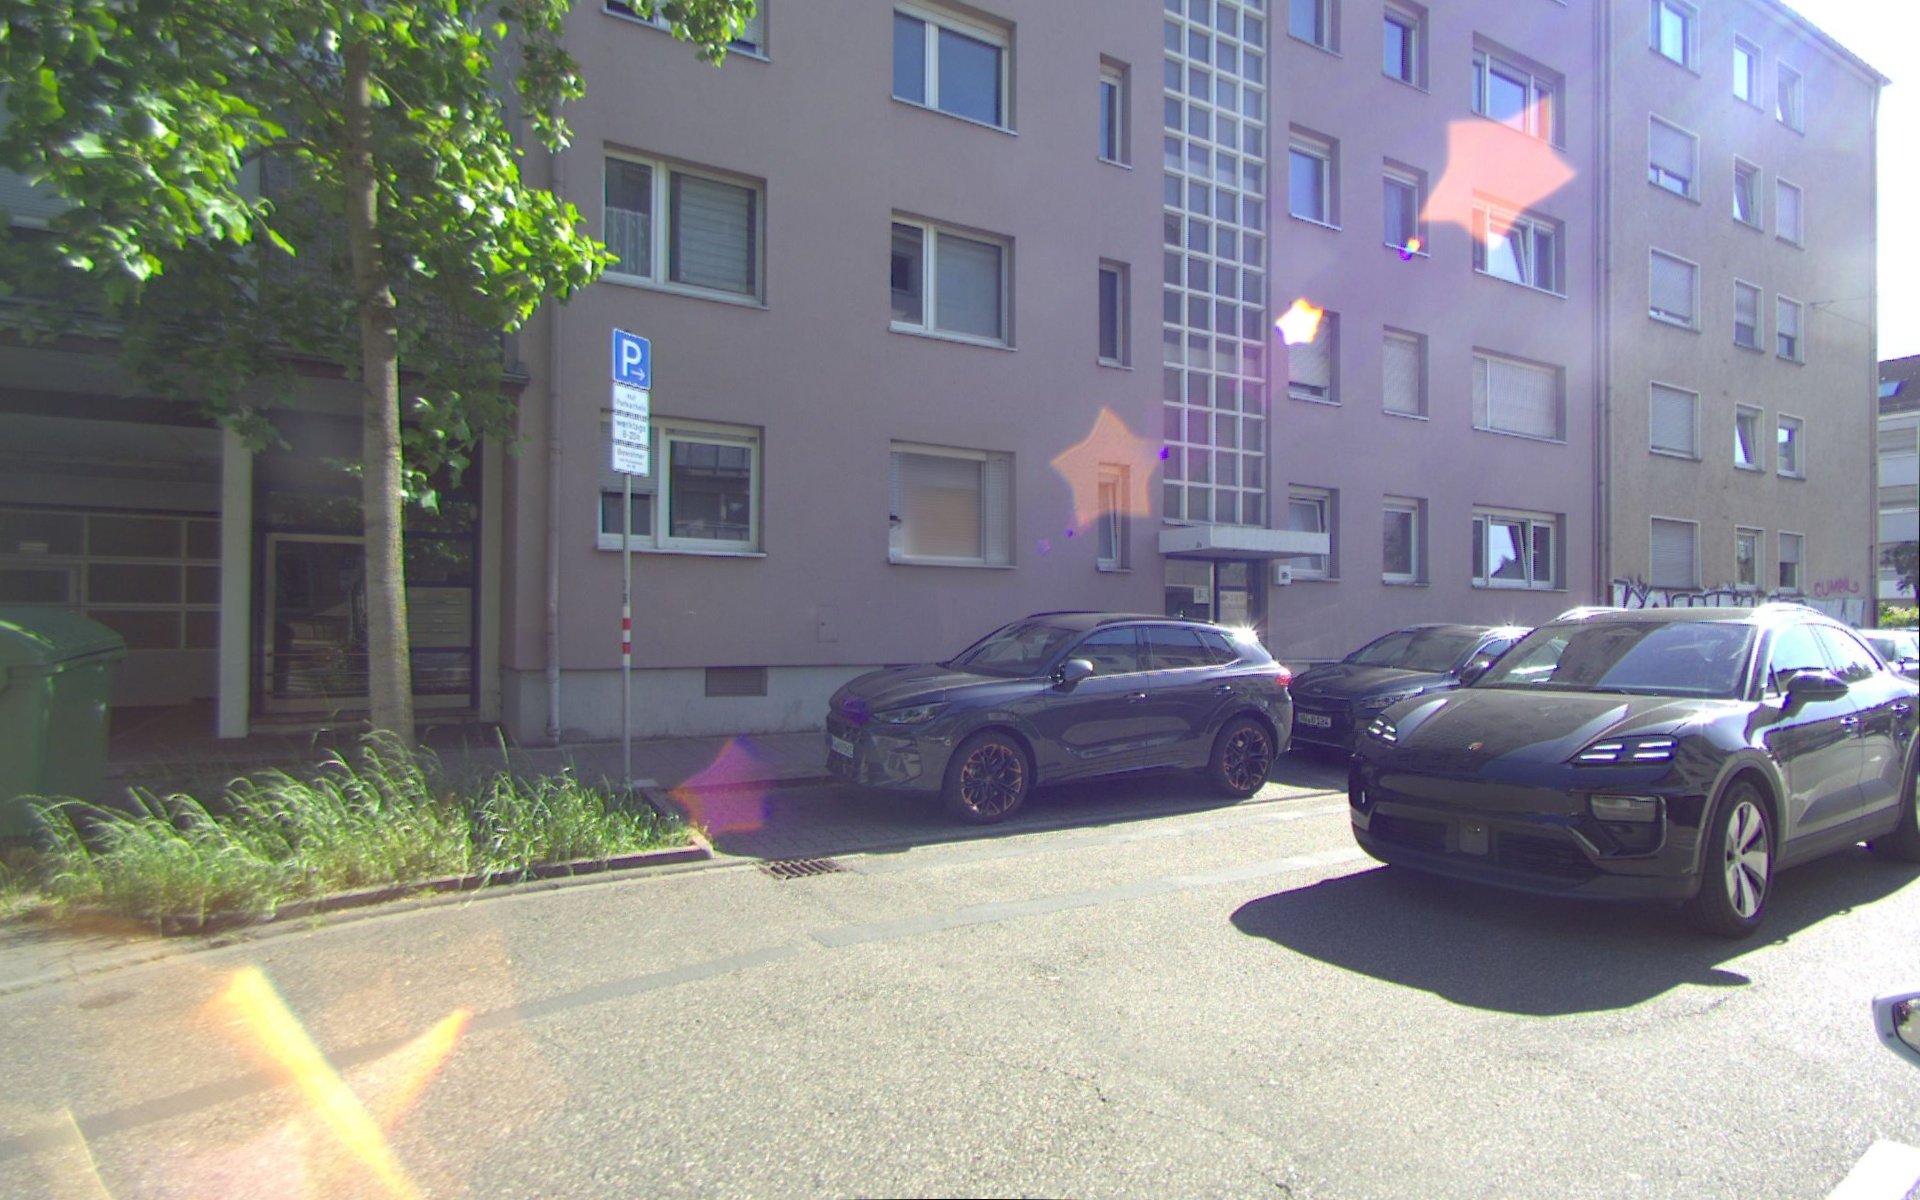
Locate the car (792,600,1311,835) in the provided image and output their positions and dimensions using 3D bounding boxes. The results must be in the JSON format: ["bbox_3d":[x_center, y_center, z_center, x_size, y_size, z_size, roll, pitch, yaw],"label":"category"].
[{"bbox_3d":[0.875,0.880,8.975,4.312,1.627,1.868,1,0,-29],"label":"car"}]

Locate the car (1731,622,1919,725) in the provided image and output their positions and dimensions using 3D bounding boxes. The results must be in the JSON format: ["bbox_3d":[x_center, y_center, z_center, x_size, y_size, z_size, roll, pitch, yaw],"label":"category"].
[{"bbox_3d":[15.438,1.190,17.297,4.704,1.489,1.768,1,1,-31],"label":"car"}]

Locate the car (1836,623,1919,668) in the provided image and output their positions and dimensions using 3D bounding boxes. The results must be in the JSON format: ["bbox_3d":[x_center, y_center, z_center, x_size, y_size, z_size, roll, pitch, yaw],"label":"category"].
[{"bbox_3d":[35.722,1.707,37.772,1.527,1.648,3.965,1,-1,-32],"label":"car"}]

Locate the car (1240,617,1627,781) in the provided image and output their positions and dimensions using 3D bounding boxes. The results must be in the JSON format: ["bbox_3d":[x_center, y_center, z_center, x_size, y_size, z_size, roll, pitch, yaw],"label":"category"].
[{"bbox_3d":[5.586,1.040,11.802,4.175,1.517,1.985,1,2,-28],"label":"car"}]

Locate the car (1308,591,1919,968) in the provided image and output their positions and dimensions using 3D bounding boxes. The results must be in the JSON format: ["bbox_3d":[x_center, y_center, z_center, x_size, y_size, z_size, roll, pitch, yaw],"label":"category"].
[{"bbox_3d":[4.409,0.839,6.310,4.377,1.635,1.857,1,-1,-31],"label":"car"}]

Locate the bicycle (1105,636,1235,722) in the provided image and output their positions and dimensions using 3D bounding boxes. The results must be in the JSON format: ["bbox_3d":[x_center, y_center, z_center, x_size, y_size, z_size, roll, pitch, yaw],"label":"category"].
[{"bbox_3d":[2.913,1.063,13.877,1.880,1.116,0.552,1,-1,-30],"label":"bicycle"}]

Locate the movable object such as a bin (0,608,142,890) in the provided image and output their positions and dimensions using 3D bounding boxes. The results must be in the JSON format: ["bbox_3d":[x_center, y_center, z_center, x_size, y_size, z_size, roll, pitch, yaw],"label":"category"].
[{"bbox_3d":[-5.539,0.780,5.677,1.060,1.469,1.228,1,-1,-22],"label":"movable object such as a bin"}]
